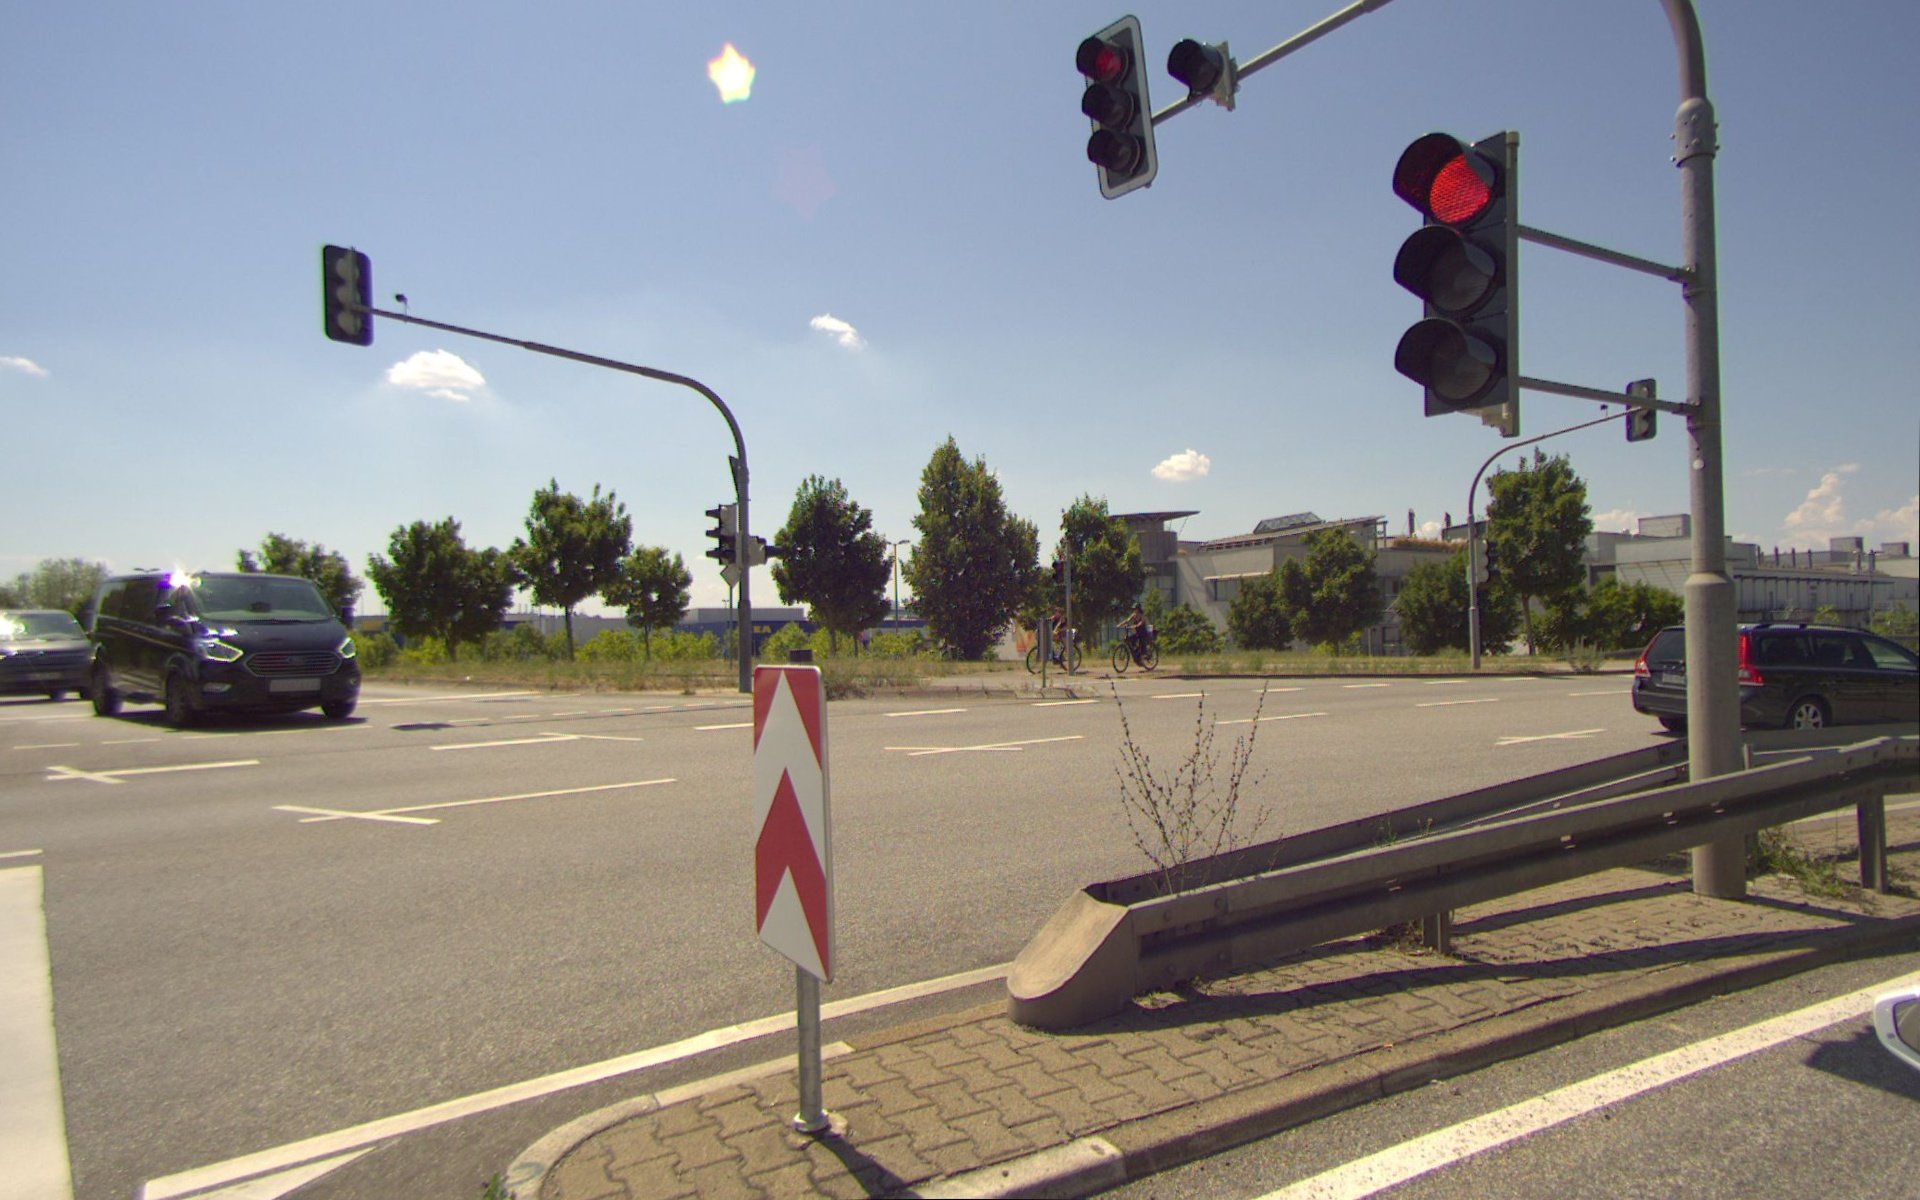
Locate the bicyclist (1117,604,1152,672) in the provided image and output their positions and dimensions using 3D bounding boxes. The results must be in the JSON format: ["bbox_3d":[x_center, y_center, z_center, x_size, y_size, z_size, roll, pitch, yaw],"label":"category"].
[{"bbox_3d":[4.561,0.988,26.264,0.724,1.741,0.526,1,0,-38],"label":"bicyclist"}]

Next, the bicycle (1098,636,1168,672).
[{"bbox_3d":[4.543,1.399,26.265,2.108,0.864,0.529,1,0,-38],"label":"bicycle"}]

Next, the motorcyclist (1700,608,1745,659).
[{"bbox_3d":[20.289,0.893,26.743,0.714,1.320,0.672,1,-3,-26],"label":"motorcyclist"}]

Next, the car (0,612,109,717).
[{"bbox_3d":[-19.237,1.316,20.462,4.461,1.944,1.938,-3,-4,37],"label":"car"}]

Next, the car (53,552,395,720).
[{"bbox_3d":[-10.406,0.591,14.082,5.320,1.962,2.120,-3,-4,33],"label":"car"}]

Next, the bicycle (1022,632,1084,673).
[{"bbox_3d":[2.465,1.364,26.478,1.814,1.038,0.411,1,0,-36],"label":"bicycle"}]

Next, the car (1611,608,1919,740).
[{"bbox_3d":[11.247,0.939,13.301,4.654,1.566,1.732,1,-2,-15],"label":"car"}]

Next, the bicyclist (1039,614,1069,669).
[{"bbox_3d":[2.483,1.089,26.489,0.678,1.423,0.404,2,0,-36],"label":"bicyclist"}]
